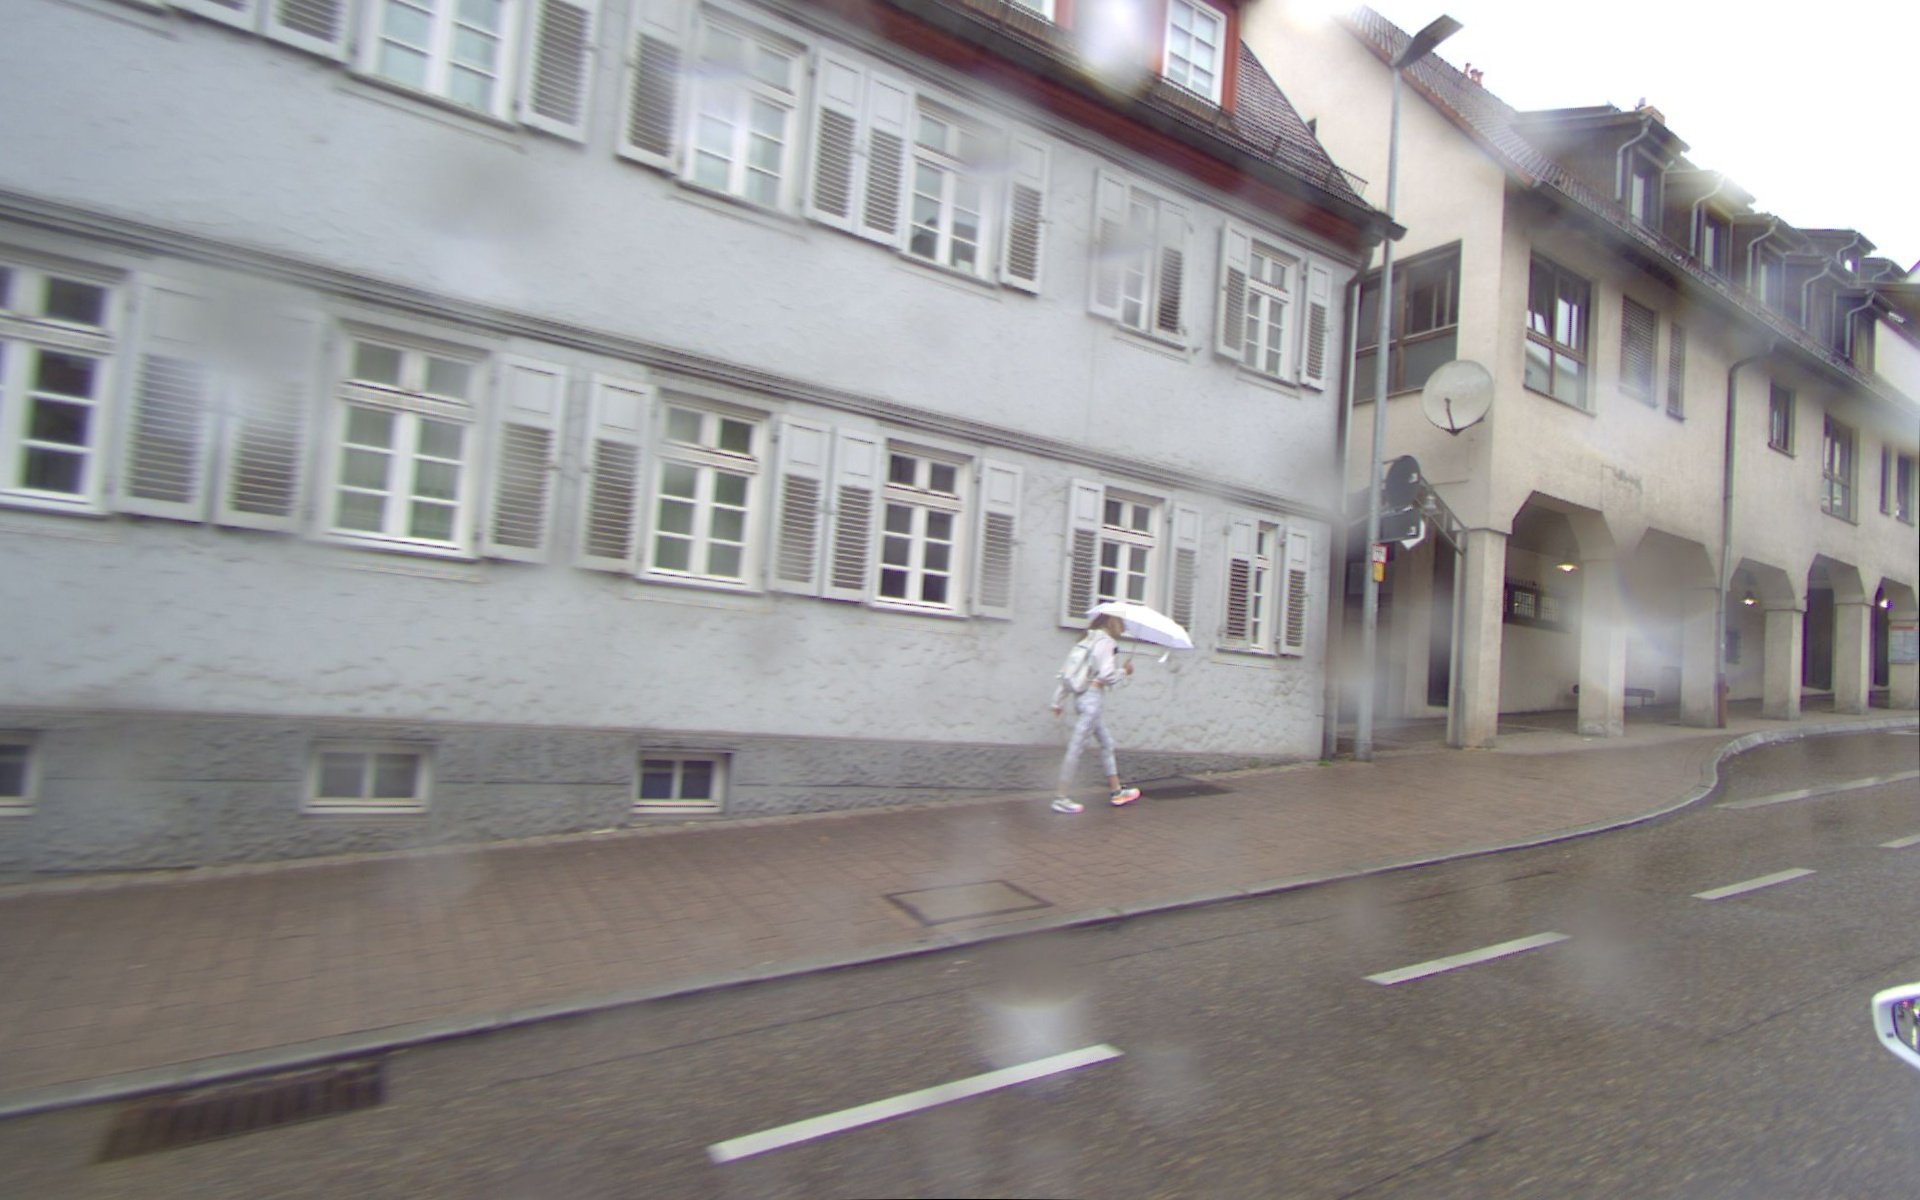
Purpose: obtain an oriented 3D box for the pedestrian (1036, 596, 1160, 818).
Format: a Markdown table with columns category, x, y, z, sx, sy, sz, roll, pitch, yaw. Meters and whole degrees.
| category | x | y | z | sx | sy | sz | roll | pitch | yaw |
| --- | --- | --- | --- | --- | --- | --- | --- | --- | --- |
| pedestrian | 1.160 | 0.864 | 8.490 | 0.726 | 1.763 | 0.685 | 2 | 0 | -28 |
